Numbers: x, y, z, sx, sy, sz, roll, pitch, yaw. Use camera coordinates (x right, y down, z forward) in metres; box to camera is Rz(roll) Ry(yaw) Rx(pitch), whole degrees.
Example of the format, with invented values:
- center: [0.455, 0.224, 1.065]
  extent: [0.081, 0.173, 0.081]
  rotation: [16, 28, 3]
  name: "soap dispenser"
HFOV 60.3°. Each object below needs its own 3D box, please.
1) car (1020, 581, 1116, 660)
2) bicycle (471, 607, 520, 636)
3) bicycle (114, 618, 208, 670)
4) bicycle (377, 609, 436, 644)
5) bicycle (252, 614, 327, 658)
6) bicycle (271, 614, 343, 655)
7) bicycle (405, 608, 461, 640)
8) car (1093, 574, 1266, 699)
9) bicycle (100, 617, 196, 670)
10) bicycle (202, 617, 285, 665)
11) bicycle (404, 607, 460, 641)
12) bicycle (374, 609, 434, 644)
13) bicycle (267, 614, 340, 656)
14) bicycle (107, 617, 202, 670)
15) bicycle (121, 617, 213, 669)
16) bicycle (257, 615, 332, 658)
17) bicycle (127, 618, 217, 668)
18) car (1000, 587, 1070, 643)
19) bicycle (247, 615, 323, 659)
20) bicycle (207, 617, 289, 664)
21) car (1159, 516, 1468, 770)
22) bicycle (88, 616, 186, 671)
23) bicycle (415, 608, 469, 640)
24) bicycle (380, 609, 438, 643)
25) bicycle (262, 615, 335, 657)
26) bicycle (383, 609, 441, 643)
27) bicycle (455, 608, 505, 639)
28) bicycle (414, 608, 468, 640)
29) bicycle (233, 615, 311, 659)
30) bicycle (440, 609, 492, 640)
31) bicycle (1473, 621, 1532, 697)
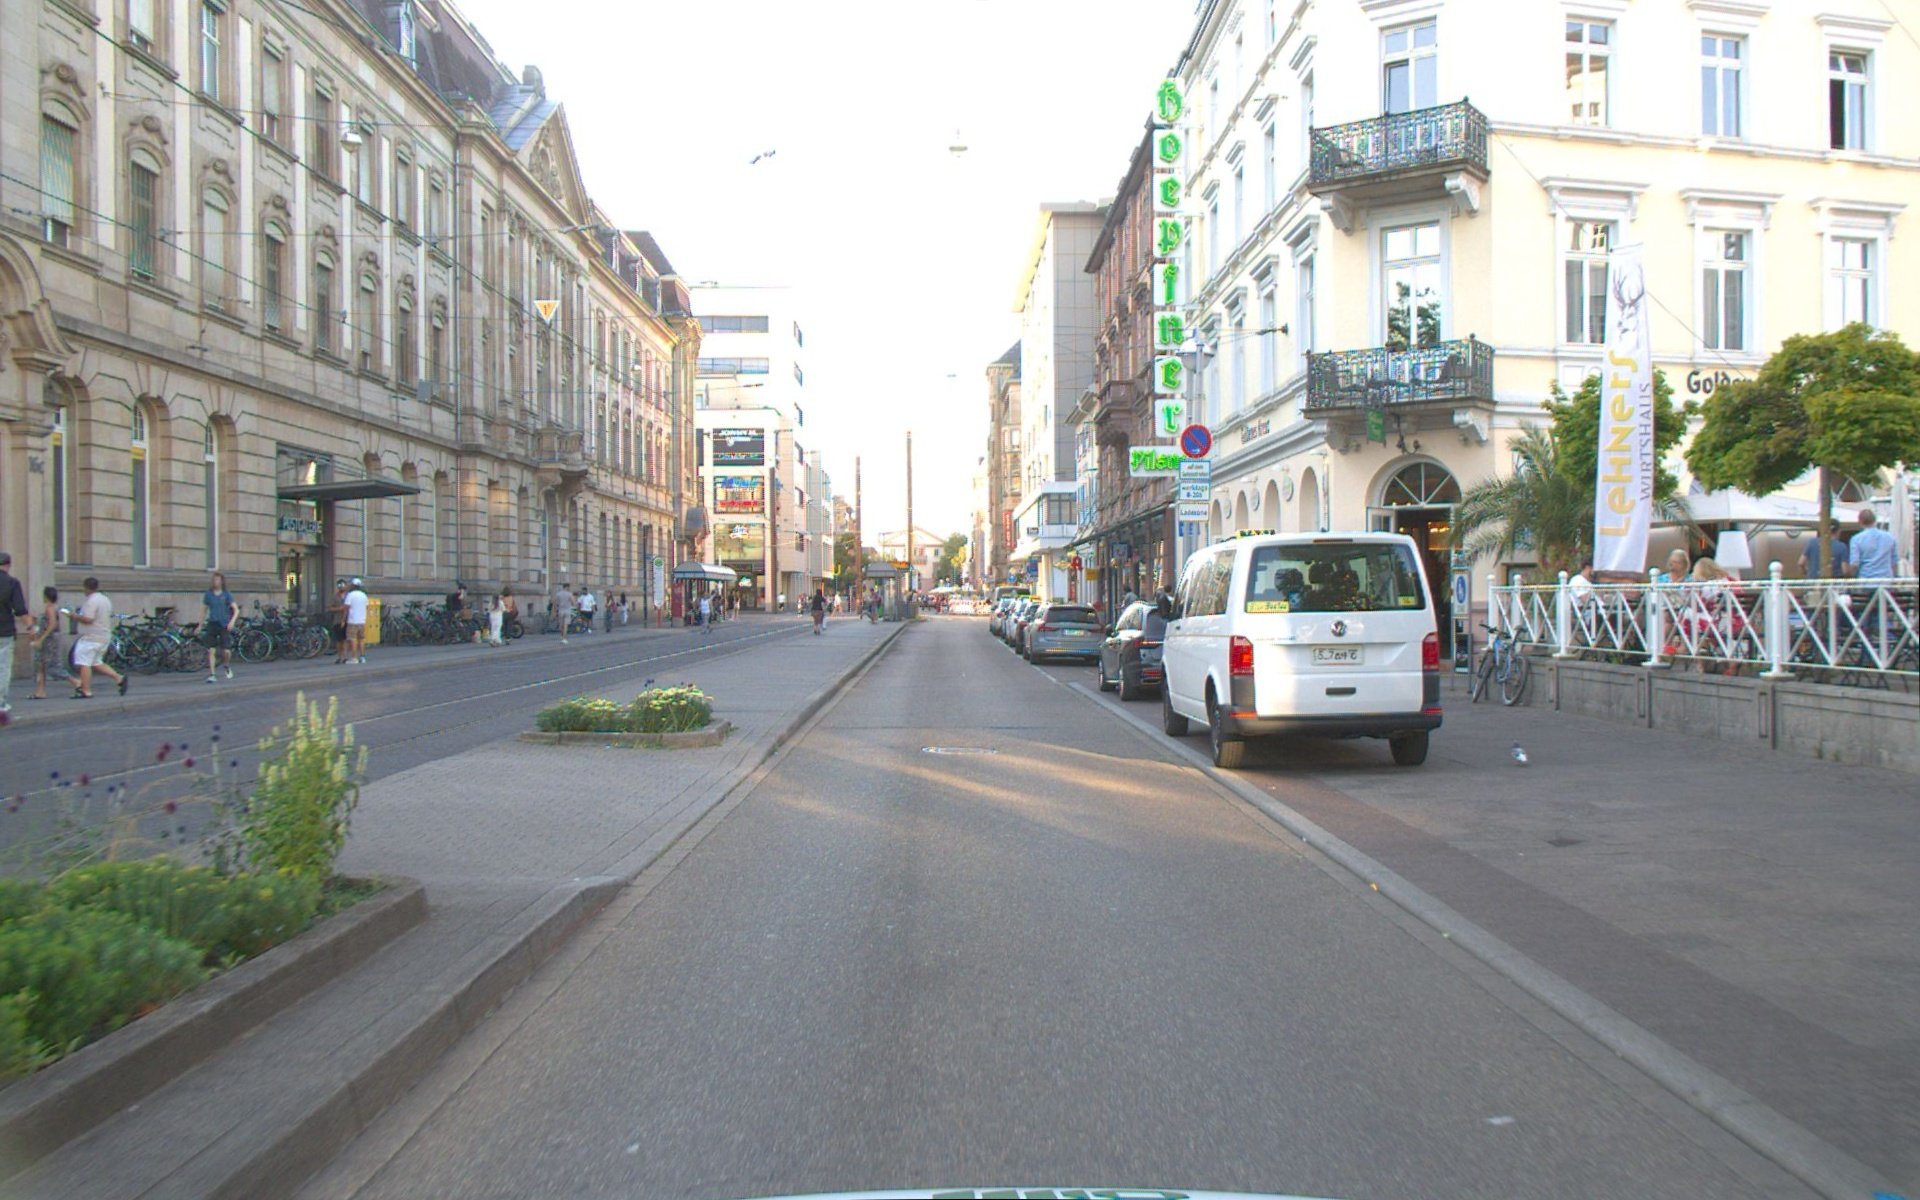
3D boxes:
- center: [2.571, 0.491, 40.317]
  extent: [1.953, 1.791, 4.420]
  rotation: [-1, 0, -1]
  name: "car"
- center: [-15.694, 0.728, 55.858]
  extent: [1.555, 0.965, 0.358]
  rotation: [-1, -1, -13]
  name: "bicycle"
- center: [-15.217, 0.828, 31.520]
  extent: [1.555, 0.965, 0.358]
  rotation: [-1, -2, -13]
  name: "bicycle"
- center: [-15.838, 0.750, 47.325]
  extent: [1.554, 0.965, 0.358]
  rotation: [-1, -2, -12]
  name: "bicycle"
- center: [-15.299, 0.826, 37.766]
  extent: [1.555, 0.965, 0.358]
  rotation: [-1, -2, -13]
  name: "bicycle"
- center: [-15.604, 0.822, 39.551]
  extent: [1.555, 0.965, 0.358]
  rotation: [-1, -2, -13]
  name: "bicycle"
- center: [-15.875, 0.724, 49.821]
  extent: [1.555, 0.965, 0.358]
  rotation: [-1, -2, -13]
  name: "bicycle"
- center: [3.214, 0.523, 25.063]
  extent: [1.953, 1.696, 4.420]
  rotation: [-1, 0, -1]
  name: "car"
- center: [-15.057, 0.805, 30.678]
  extent: [1.555, 0.965, 0.358]
  rotation: [-1, -1, -13]
  name: "bicycle"
- center: [-15.033, 0.856, 34.742]
  extent: [1.555, 0.965, 0.358]
  rotation: [-1, -2, -13]
  name: "bicycle"
- center: [-15.764, 0.716, 49.363]
  extent: [1.555, 0.965, 0.358]
  rotation: [-1, -2, -13]
  name: "bicycle"
- center: [-15.756, 0.744, 46.876]
  extent: [1.555, 0.965, 0.358]
  rotation: [-1, -2, -13]
  name: "bicycle"
- center: [-15.516, 0.833, 39.109]
  extent: [1.555, 0.965, 0.358]
  rotation: [-1, -2, -13]
  name: "bicycle"
- center: [-15.131, 0.822, 31.073]
  extent: [1.555, 0.965, 0.358]
  rotation: [0, -2, -14]
  name: "bicycle"
- center: [-15.298, 0.830, 31.926]
  extent: [1.555, 0.965, 0.358]
  rotation: [-1, -2, -13]
  name: "bicycle"
- center: [-15.372, 0.836, 38.204]
  extent: [1.555, 0.965, 0.358]
  rotation: [-1, -2, -13]
  name: "bicycle"
- center: [-15.393, 0.838, 32.328]
  extent: [1.555, 0.965, 0.358]
  rotation: [-1, -2, -13]
  name: "bicycle"
- center: [2.357, 0.527, 53.149]
  extent: [1.953, 1.696, 4.419]
  rotation: [-1, -1, -1]
  name: "car"
- center: [-15.229, 0.833, 37.332]
  extent: [1.555, 0.965, 0.358]
  rotation: [-1, -2, -13]
  name: "bicycle"
- center: [-15.138, 0.860, 35.175]
  extent: [1.555, 0.965, 0.358]
  rotation: [-1, -1, -13]
  name: "bicycle"
- center: [3.114, 0.346, 15.525]
  extent: [1.876, 2.016, 4.420]
  rotation: [-1, 0, -1]
  name: "car"
- center: [-14.990, 0.792, 30.138]
  extent: [1.555, 0.965, 0.358]
  rotation: [-1, 0, -13]
  name: "bicycle"
- center: [-15.957, 0.748, 50.999]
  extent: [1.555, 0.965, 0.358]
  rotation: [-1, -2, -13]
  name: "bicycle"
- center: [-15.885, 0.748, 47.725]
  extent: [1.555, 0.965, 0.358]
  rotation: [-1, -2, -13]
  name: "bicycle"
- center: [-15.456, 0.839, 38.660]
  extent: [1.555, 0.965, 0.358]
  rotation: [-1, -2, -13]
  name: "bicycle"
- center: [-15.948, 0.748, 48.158]
  extent: [1.555, 0.965, 0.358]
  rotation: [-1, -2, -13]
  name: "bicycle"
- center: [-15.698, 0.767, 54.141]
  extent: [1.555, 0.965, 0.358]
  rotation: [-1, -2, -13]
  name: "bicycle"
- center: [-15.855, 0.734, 50.557]
  extent: [1.555, 0.965, 0.358]
  rotation: [-1, -2, -13]
  name: "bicycle"
- center: [-15.325, 0.827, 36.857]
  extent: [1.555, 0.965, 0.358]
  rotation: [-1, -2, -13]
  name: "bicycle"
- center: [-15.738, 0.775, 52.678]
  extent: [1.555, 0.965, 0.358]
  rotation: [-1, -2, -13]
  name: "bicycle"
- center: [6.803, 0.738, 20.771]
  extent: [0.245, 0.918, 1.373]
  rotation: [-1, -2, -1]
  name: "bicycle"
